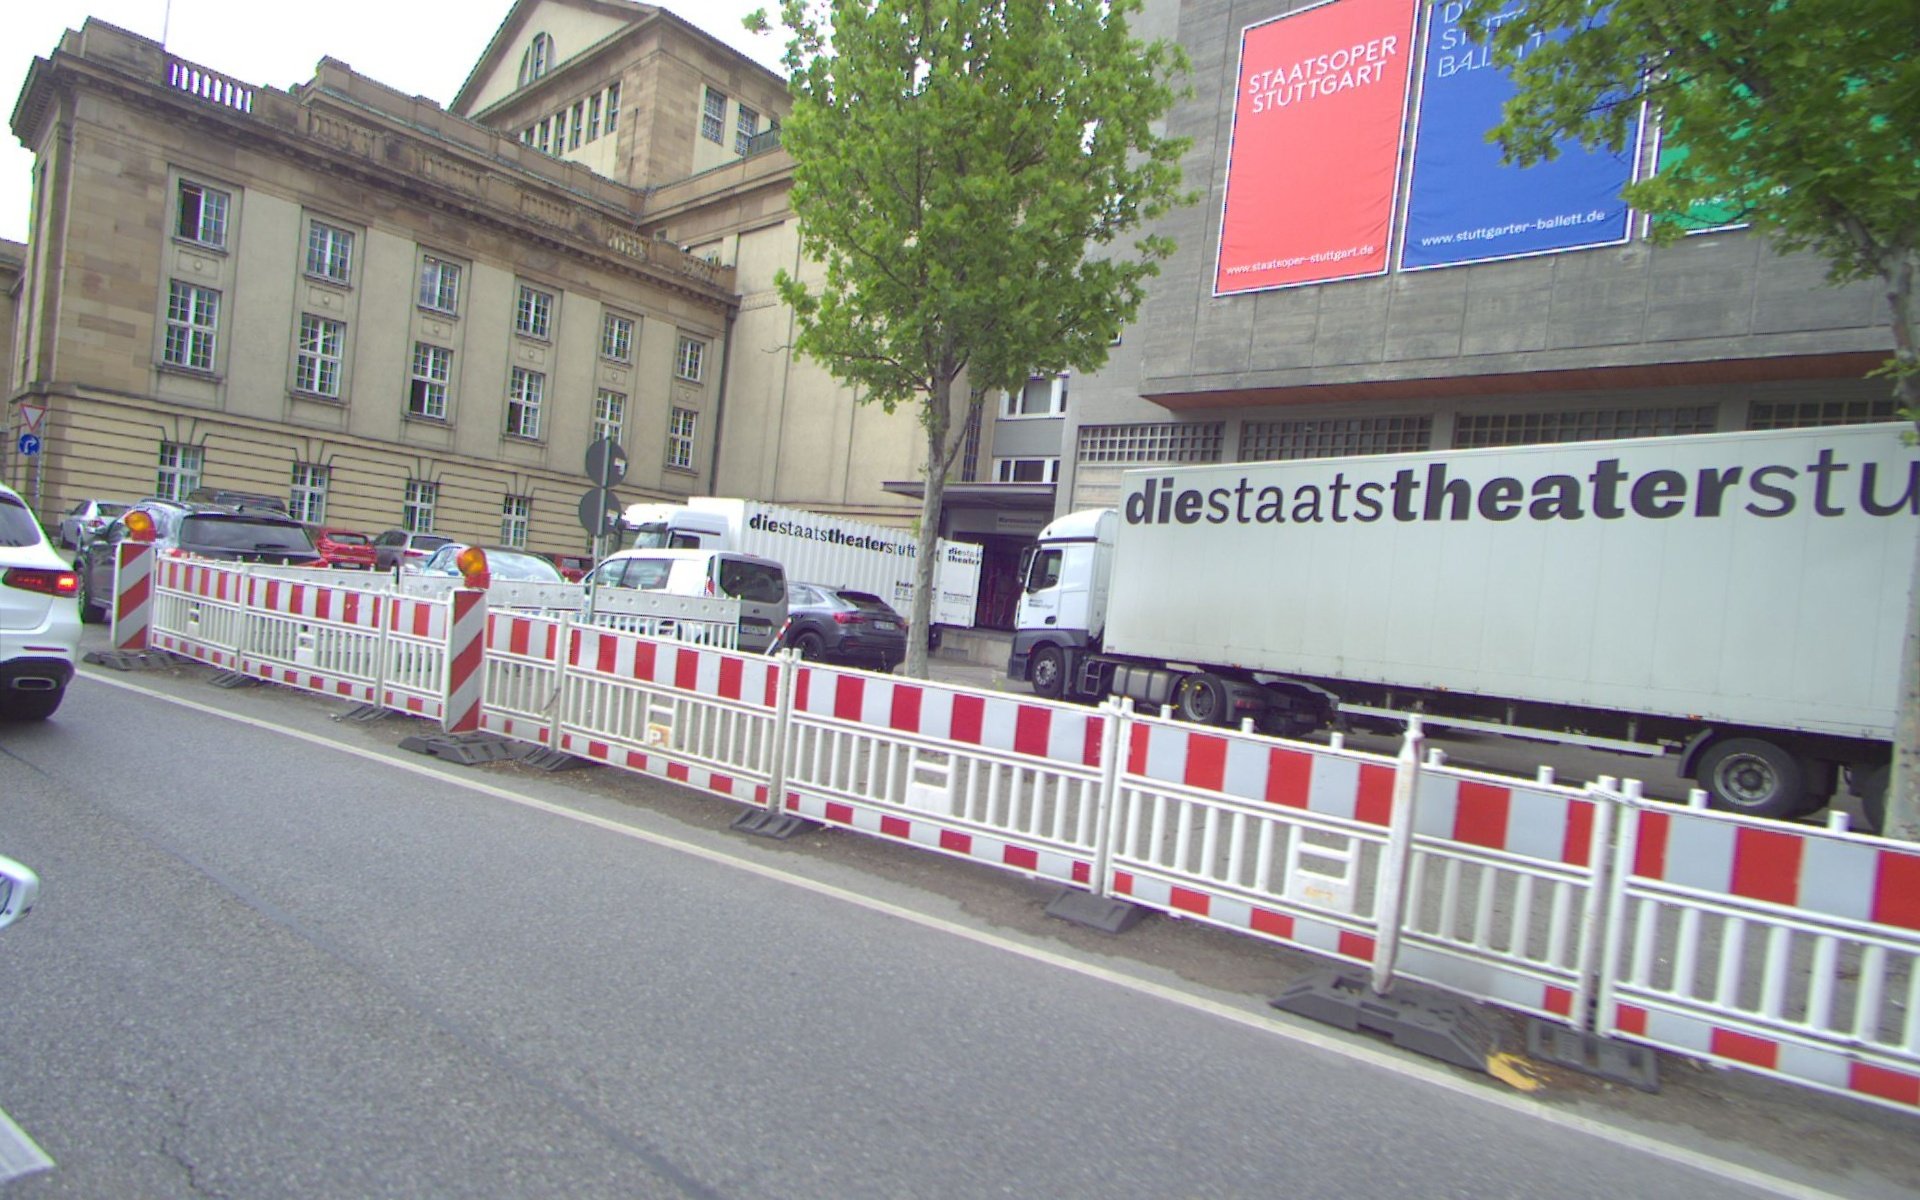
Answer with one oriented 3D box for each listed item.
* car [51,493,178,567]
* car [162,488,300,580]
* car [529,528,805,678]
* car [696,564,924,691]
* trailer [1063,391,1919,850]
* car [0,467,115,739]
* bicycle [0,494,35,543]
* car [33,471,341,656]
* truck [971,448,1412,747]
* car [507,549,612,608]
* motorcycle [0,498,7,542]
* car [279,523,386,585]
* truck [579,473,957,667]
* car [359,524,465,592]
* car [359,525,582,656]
[{"bbox_3d":[-22.375,-1.872,26.569,4.509,1.487,1.776,7,0,41],"label":"car"},{"bbox_3d":[-20.667,-1.900,28.447,4.846,2.094,1.946,7,0,41],"label":"car"},{"bbox_3d":[-4.768,-0.005,16.017,4.555,1.804,1.805,6,-3,40],"label":"car"},{"bbox_3d":[-2.645,0.436,17.326,3.707,1.709,1.713,6,-1,40],"label":"car"},{"bbox_3d":[7.635,0.157,12.653,3.138,4.148,13.813,8,-2,-41],"label":"trailer"},{"bbox_3d":[-7.883,-0.212,6.807,4.361,1.644,1.792,6,-1,29],"label":"car"},{"bbox_3d":[-25.699,-2.223,27.285,1.934,1.241,0.607,6,4,39],"label":"bicycle"},{"bbox_3d":[-9.712,-0.511,12.524,4.417,1.759,1.805,7,0,37],"label":"car"},{"bbox_3d":[3.691,-0.071,17.388,3.120,4.134,6.498,7,-1,-41],"label":"truck"},{"bbox_3d":[-13.900,-0.759,34.820,3.863,1.553,1.641,7,0,41],"label":"car"},{"bbox_3d":[-28.269,-2.371,29.455,0.453,1.258,1.898,4,2,-45],"label":"motorcycle"},{"bbox_3d":[-18.845,-1.398,30.165,3.565,1.430,1.641,7,0,41],"label":"car"},{"bbox_3d":[-4.749,-0.534,27.691,2.957,4.259,10.333,7,1,41],"label":"truck"},{"bbox_3d":[-17.228,-1.338,31.589,3.565,1.690,1.641,7,0,41],"label":"car"},{"bbox_3d":[-7.332,-0.175,14.951,3.453,1.548,1.579,6,-1,40],"label":"car"}]
